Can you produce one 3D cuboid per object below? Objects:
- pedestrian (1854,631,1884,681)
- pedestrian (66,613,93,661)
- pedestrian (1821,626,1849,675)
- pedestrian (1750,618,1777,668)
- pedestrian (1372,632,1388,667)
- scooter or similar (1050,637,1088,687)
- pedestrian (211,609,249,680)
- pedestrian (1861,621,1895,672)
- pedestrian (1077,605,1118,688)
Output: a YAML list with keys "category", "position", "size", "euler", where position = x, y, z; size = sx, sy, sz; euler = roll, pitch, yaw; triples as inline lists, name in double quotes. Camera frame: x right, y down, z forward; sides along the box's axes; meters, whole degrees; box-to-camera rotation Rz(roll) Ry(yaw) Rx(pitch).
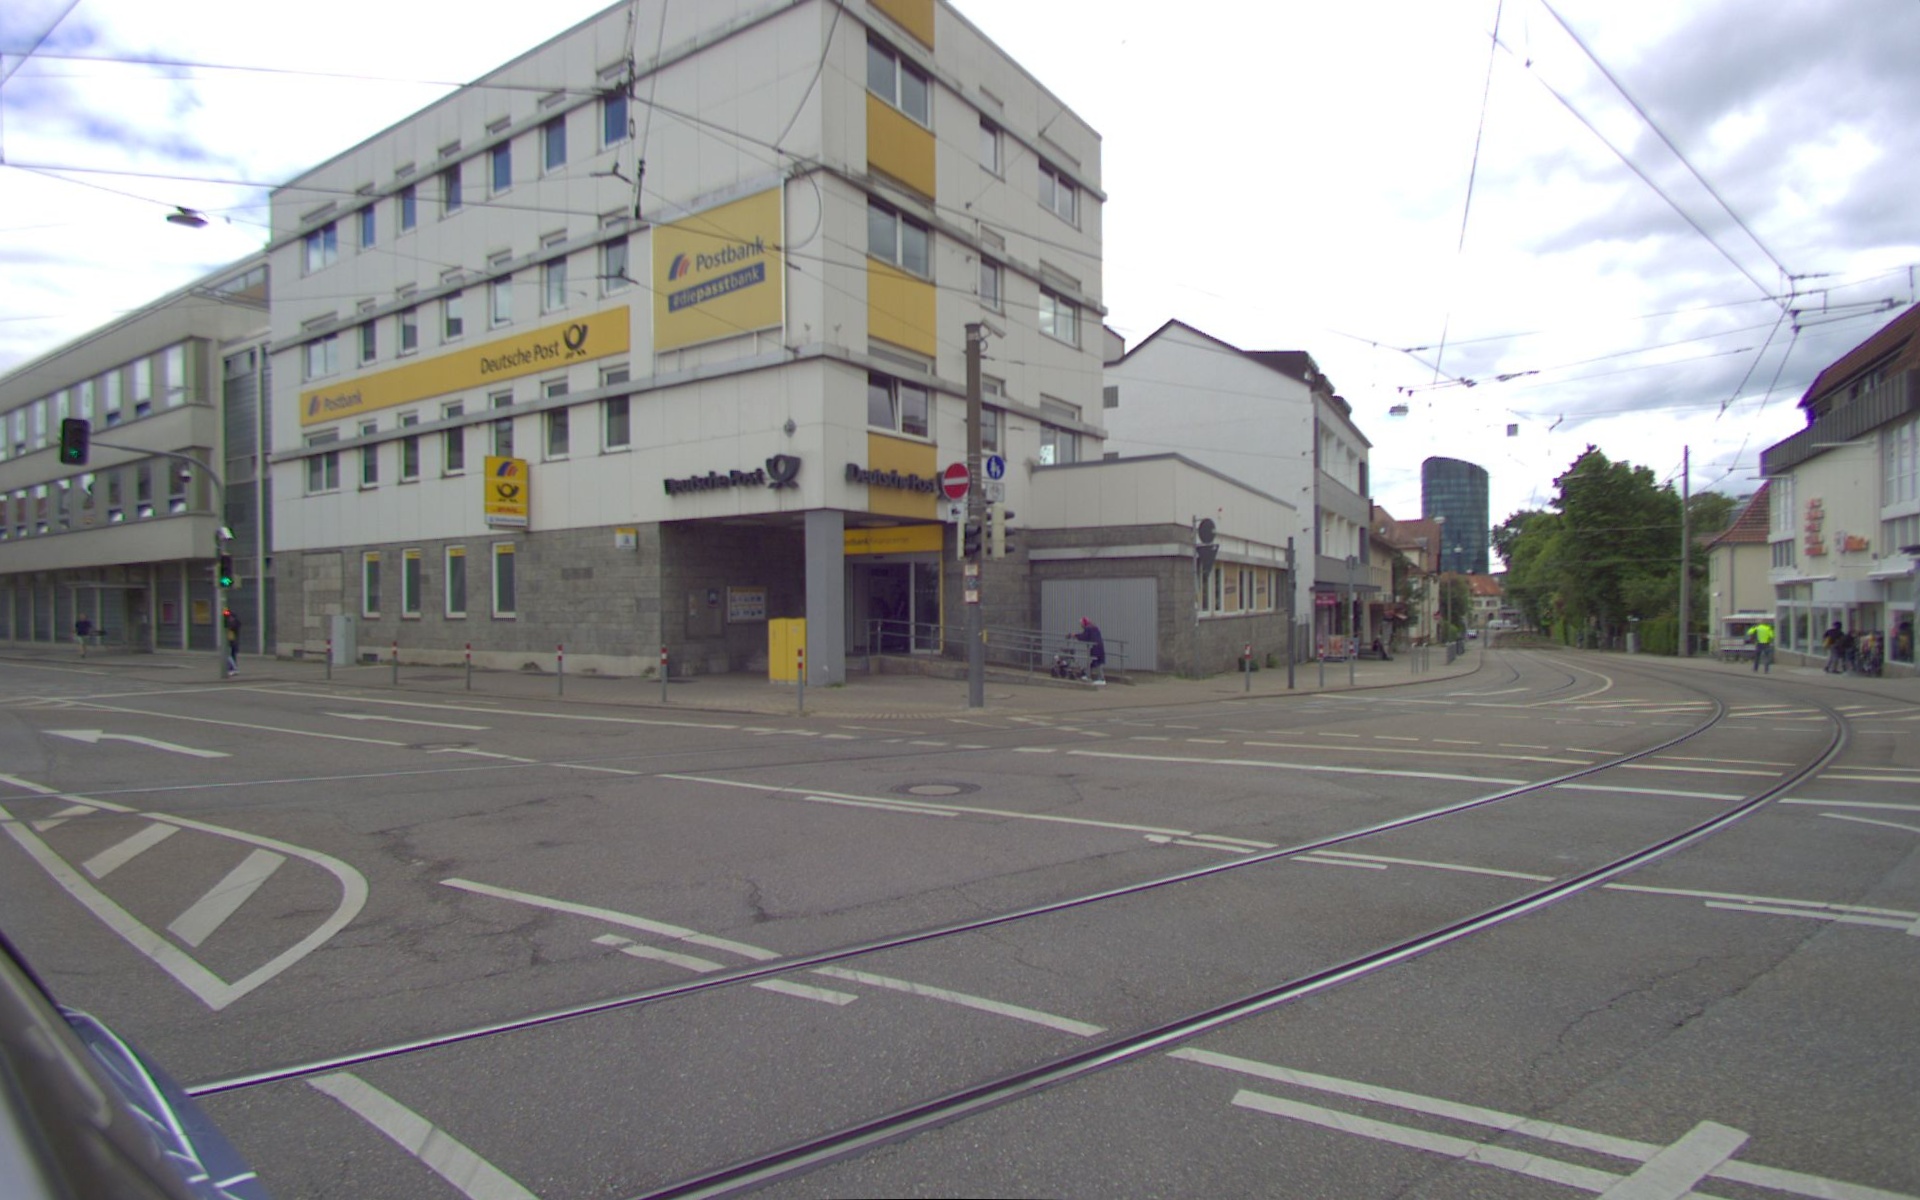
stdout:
- category: "pedestrian"
  position: [30.739, 1.884, 34.213]
  size: [0.612, 1.646, 0.582]
  euler: [-2, 2, 30]
- category: "pedestrian"
  position: [-34.394, 1.430, 39.541]
  size: [0.525, 1.816, 0.581]
  euler: [-2, 2, 34]
- category: "pedestrian"
  position: [30.520, 1.766, 35.300]
  size: [0.612, 1.646, 0.582]
  euler: [-2, 2, 30]
- category: "pedestrian"
  position: [27.342, 1.472, 34.449]
  size: [0.585, 1.646, 0.609]
  euler: [-2, 2, 29]
- category: "pedestrian"
  position: [20.925, 2.464, 50.372]
  size: [0.612, 1.646, 0.689]
  euler: [-2, 2, 28]
- category: "scooter or similar"
  position: [2.247, 1.268, 20.877]
  size: [0.615, 0.984, 0.503]
  euler: [-1, 0, 32]
- category: "pedestrian"
  position: [-19.197, 1.167, 26.615]
  size: [0.525, 1.816, 0.581]
  euler: [-2, 2, 34]
- category: "pedestrian"
  position: [30.471, 1.543, 33.599]
  size: [0.609, 1.646, 0.585]
  euler: [-2, 2, 13]
- category: "pedestrian"
  position: [2.780, 0.932, 20.484]
  size: [0.613, 1.647, 0.581]
  euler: [-2, -1, 34]
